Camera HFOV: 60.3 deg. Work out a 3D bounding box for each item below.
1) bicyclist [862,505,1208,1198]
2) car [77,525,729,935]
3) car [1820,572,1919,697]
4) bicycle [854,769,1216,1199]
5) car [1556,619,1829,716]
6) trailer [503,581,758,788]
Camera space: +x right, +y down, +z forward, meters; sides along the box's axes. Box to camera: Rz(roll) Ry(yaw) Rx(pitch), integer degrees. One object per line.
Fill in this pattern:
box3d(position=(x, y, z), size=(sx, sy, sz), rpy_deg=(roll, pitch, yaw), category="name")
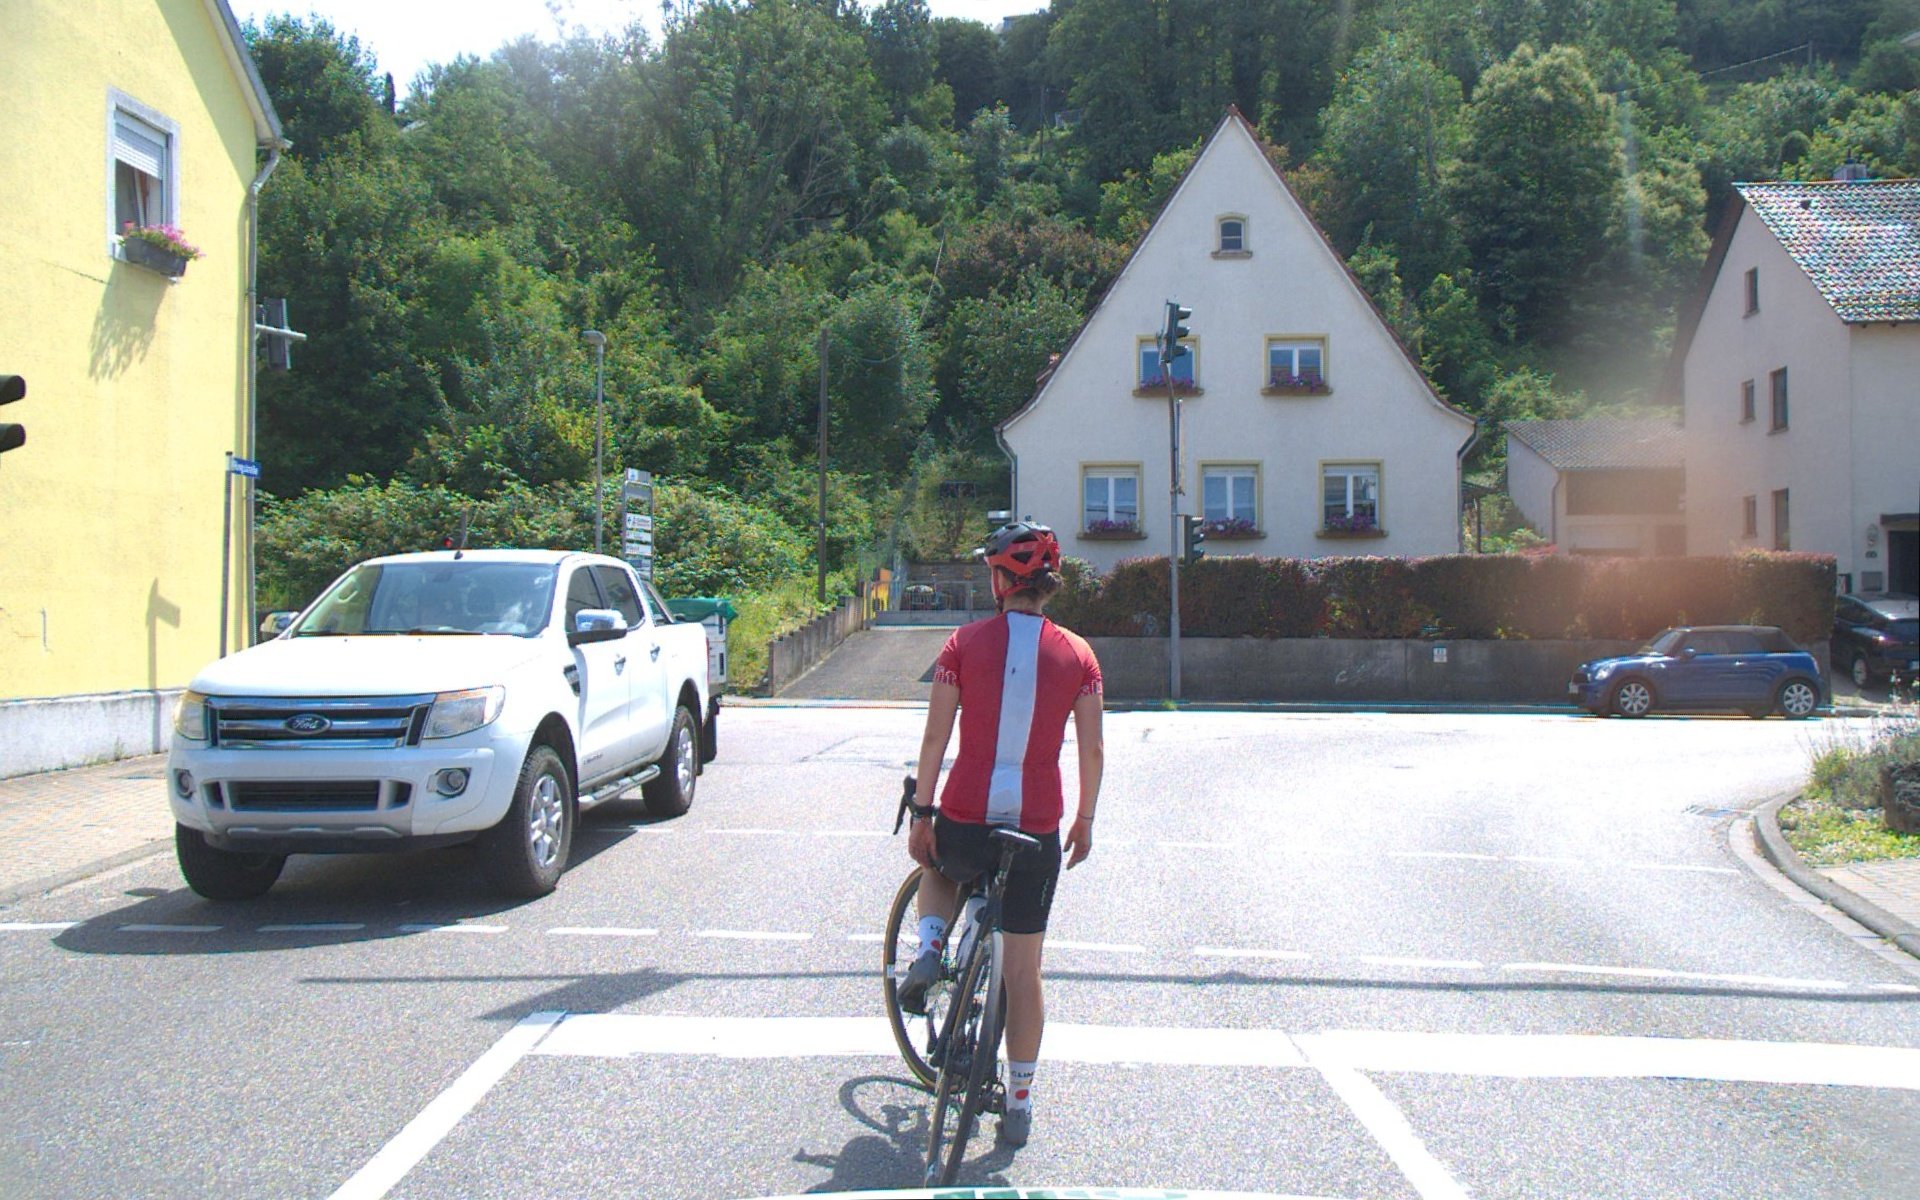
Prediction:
box3d(position=(0.171, 0.622, 4.547), size=(0.747, 1.693, 0.866), rpy_deg=(1, 0, -10), category="bicyclist")
box3d(position=(-2.881, 0.587, 10.087), size=(1.931, 1.807, 5.316), rpy_deg=(-1, 0, 3), category="car")
box3d(position=(17.324, 0.582, 30.764), size=(1.758, 1.411, 3.696), rpy_deg=(0, 13, 19), category="car")
box3d(position=(0.121, 1.004, 4.485), size=(0.618, 0.920, 1.653), rpy_deg=(1, 0, -10), category="bicycle")
box3d(position=(11.317, 1.056, 25.734), size=(3.533, 1.387, 1.645), rpy_deg=(1, -3, 3), category="car")
box3d(position=(-2.862, 0.660, 15.137), size=(1.935, 1.566, 4.437), rpy_deg=(-1, 0, -8), category="trailer")
